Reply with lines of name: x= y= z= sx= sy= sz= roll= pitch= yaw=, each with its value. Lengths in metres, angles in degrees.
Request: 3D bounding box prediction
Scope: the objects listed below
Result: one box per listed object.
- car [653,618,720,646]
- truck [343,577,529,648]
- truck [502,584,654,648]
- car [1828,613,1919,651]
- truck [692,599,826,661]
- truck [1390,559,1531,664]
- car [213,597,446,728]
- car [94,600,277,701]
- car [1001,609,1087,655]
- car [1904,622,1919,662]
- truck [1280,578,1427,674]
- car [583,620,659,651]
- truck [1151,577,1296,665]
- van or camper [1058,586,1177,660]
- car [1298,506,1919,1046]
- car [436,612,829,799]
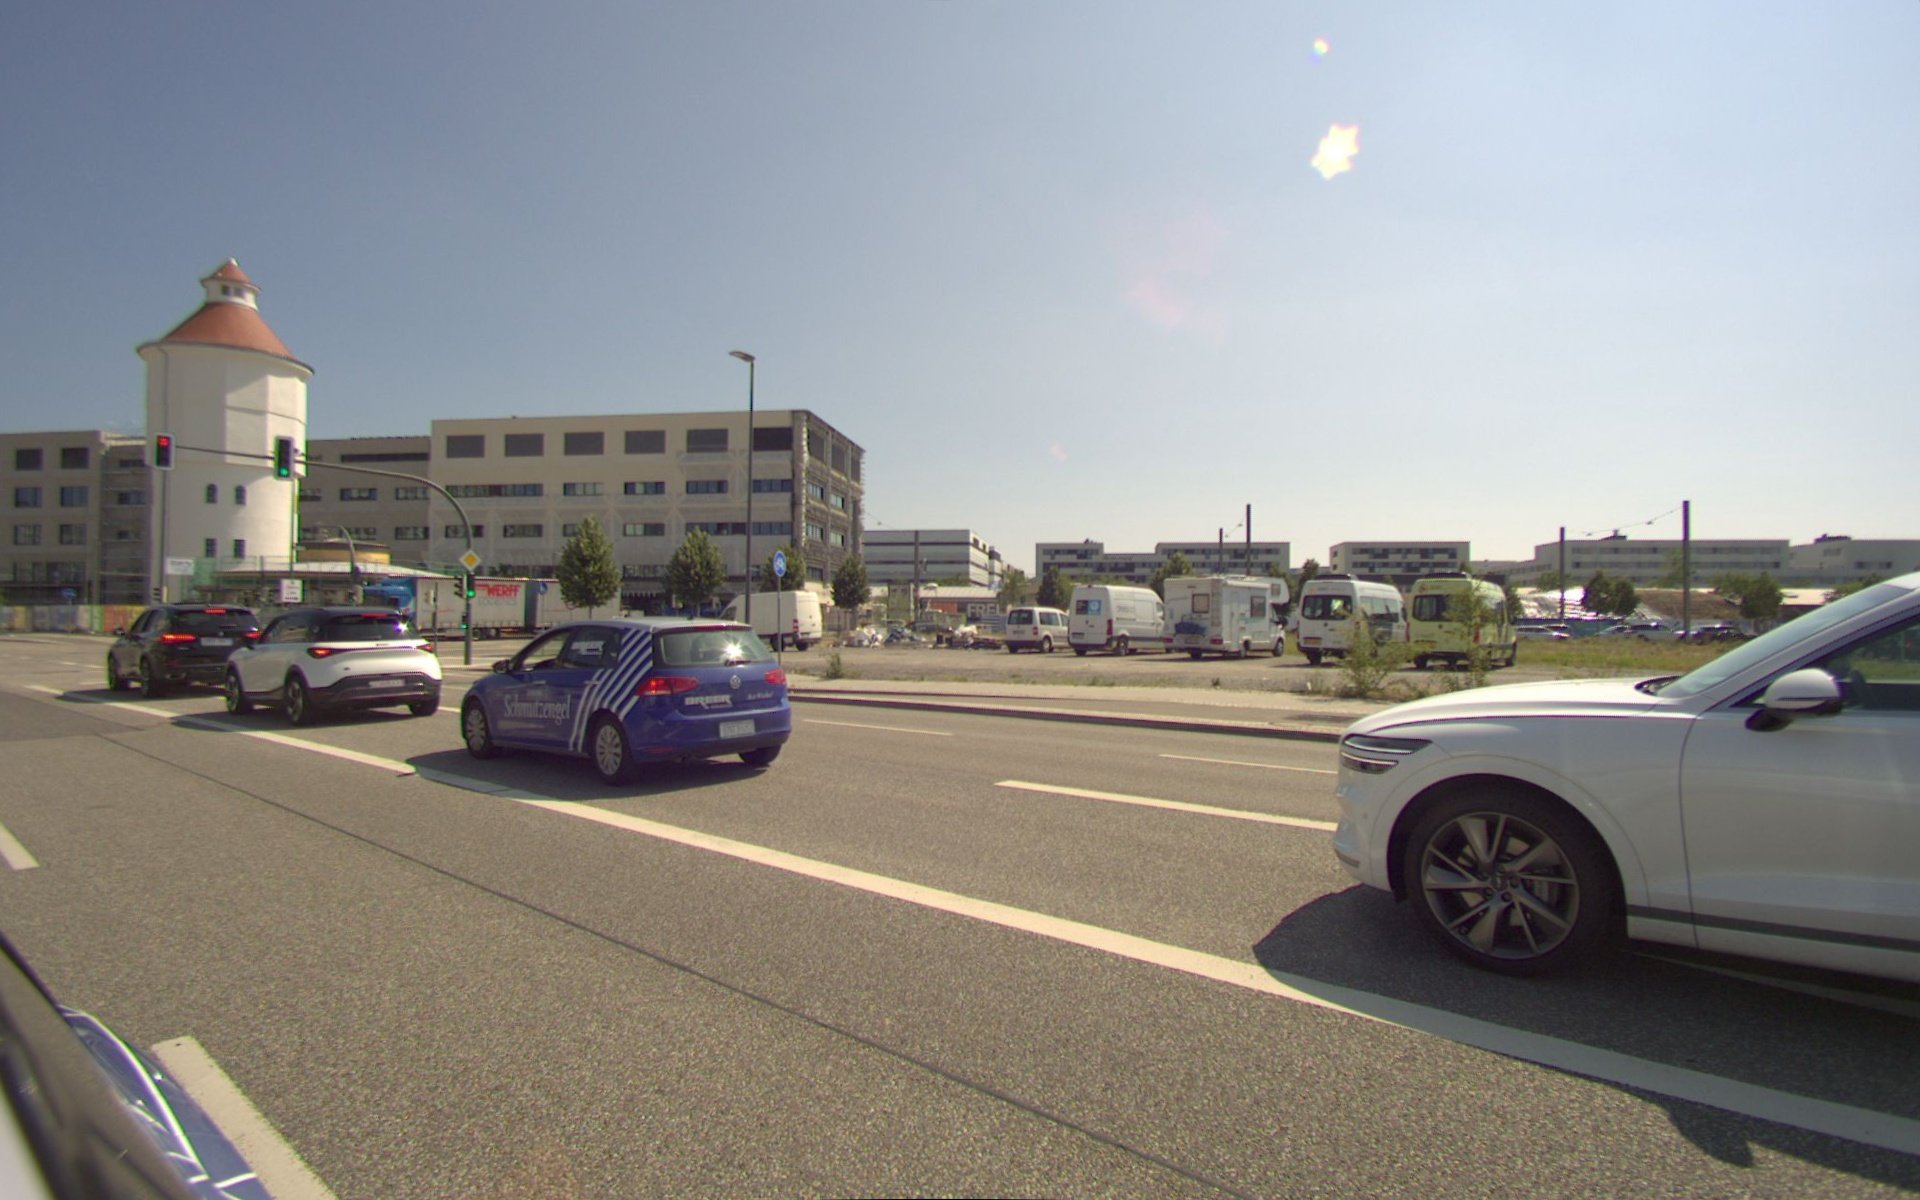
car: x=-16.761 y=1.921 z=62.253 sx=1.870 sy=1.652 sz=3.965 roll=-1 pitch=-1 yaw=25
truck: x=-32.828 y=0.670 z=64.223 sx=3.282 sy=4.098 sz=10.893 roll=0 pitch=1 yaw=24
truck: x=-27.819 y=1.025 z=74.422 sx=3.332 sy=4.307 sz=10.838 roll=0 pitch=1 yaw=30
car: x=51.720 y=1.758 z=56.449 sx=4.601 sy=1.985 sz=1.994 roll=-1 pitch=0 yaw=9
truck: x=-9.164 y=1.314 z=45.939 sx=5.915 sy=2.675 sz=2.154 roll=0 pitch=-2 yaw=27
truck: x=15.403 y=0.343 z=30.876 sx=2.599 sy=2.847 sz=6.573 roll=-1 pitch=-1 yaw=38
car: x=-9.525 y=0.863 z=15.170 sx=4.094 sy=1.695 sz=1.761 roll=-2 pitch=-1 yaw=39
car: x=-15.652 y=0.956 z=20.366 sx=4.650 sy=1.802 sz=1.920 roll=-2 pitch=-1 yaw=39
car: x=3.434 y=1.254 z=40.892 sx=1.655 sy=1.771 sz=3.829 roll=-2 pitch=-1 yaw=38
car: x=51.014 y=2.114 z=51.049 sx=4.601 sy=1.985 sz=1.994 roll=-1 pitch=0 yaw=9
truck: x=12.862 y=0.719 z=32.820 sx=2.570 sy=2.845 sz=5.773 roll=0 pitch=1 yaw=42
car: x=-19.136 y=1.975 z=57.310 sx=1.870 sy=1.652 sz=3.965 roll=-1 pitch=-1 yaw=25
truck: x=9.642 y=0.635 z=36.606 sx=2.570 sy=2.923 sz=6.079 roll=0 pitch=1 yaw=42
van or camper: x=6.134 y=0.842 z=39.042 sx=2.259 sy=2.682 sz=4.848 roll=-2 pitch=-1 yaw=41
car: x=3.871 y=0.531 z=3.559 sx=4.729 sy=1.662 sz=1.893 roll=-1 pitch=0 yaw=42
car: x=-3.360 y=0.852 z=9.916 sx=4.281 sy=1.432 sz=1.767 roll=-1 pitch=-1 yaw=42
